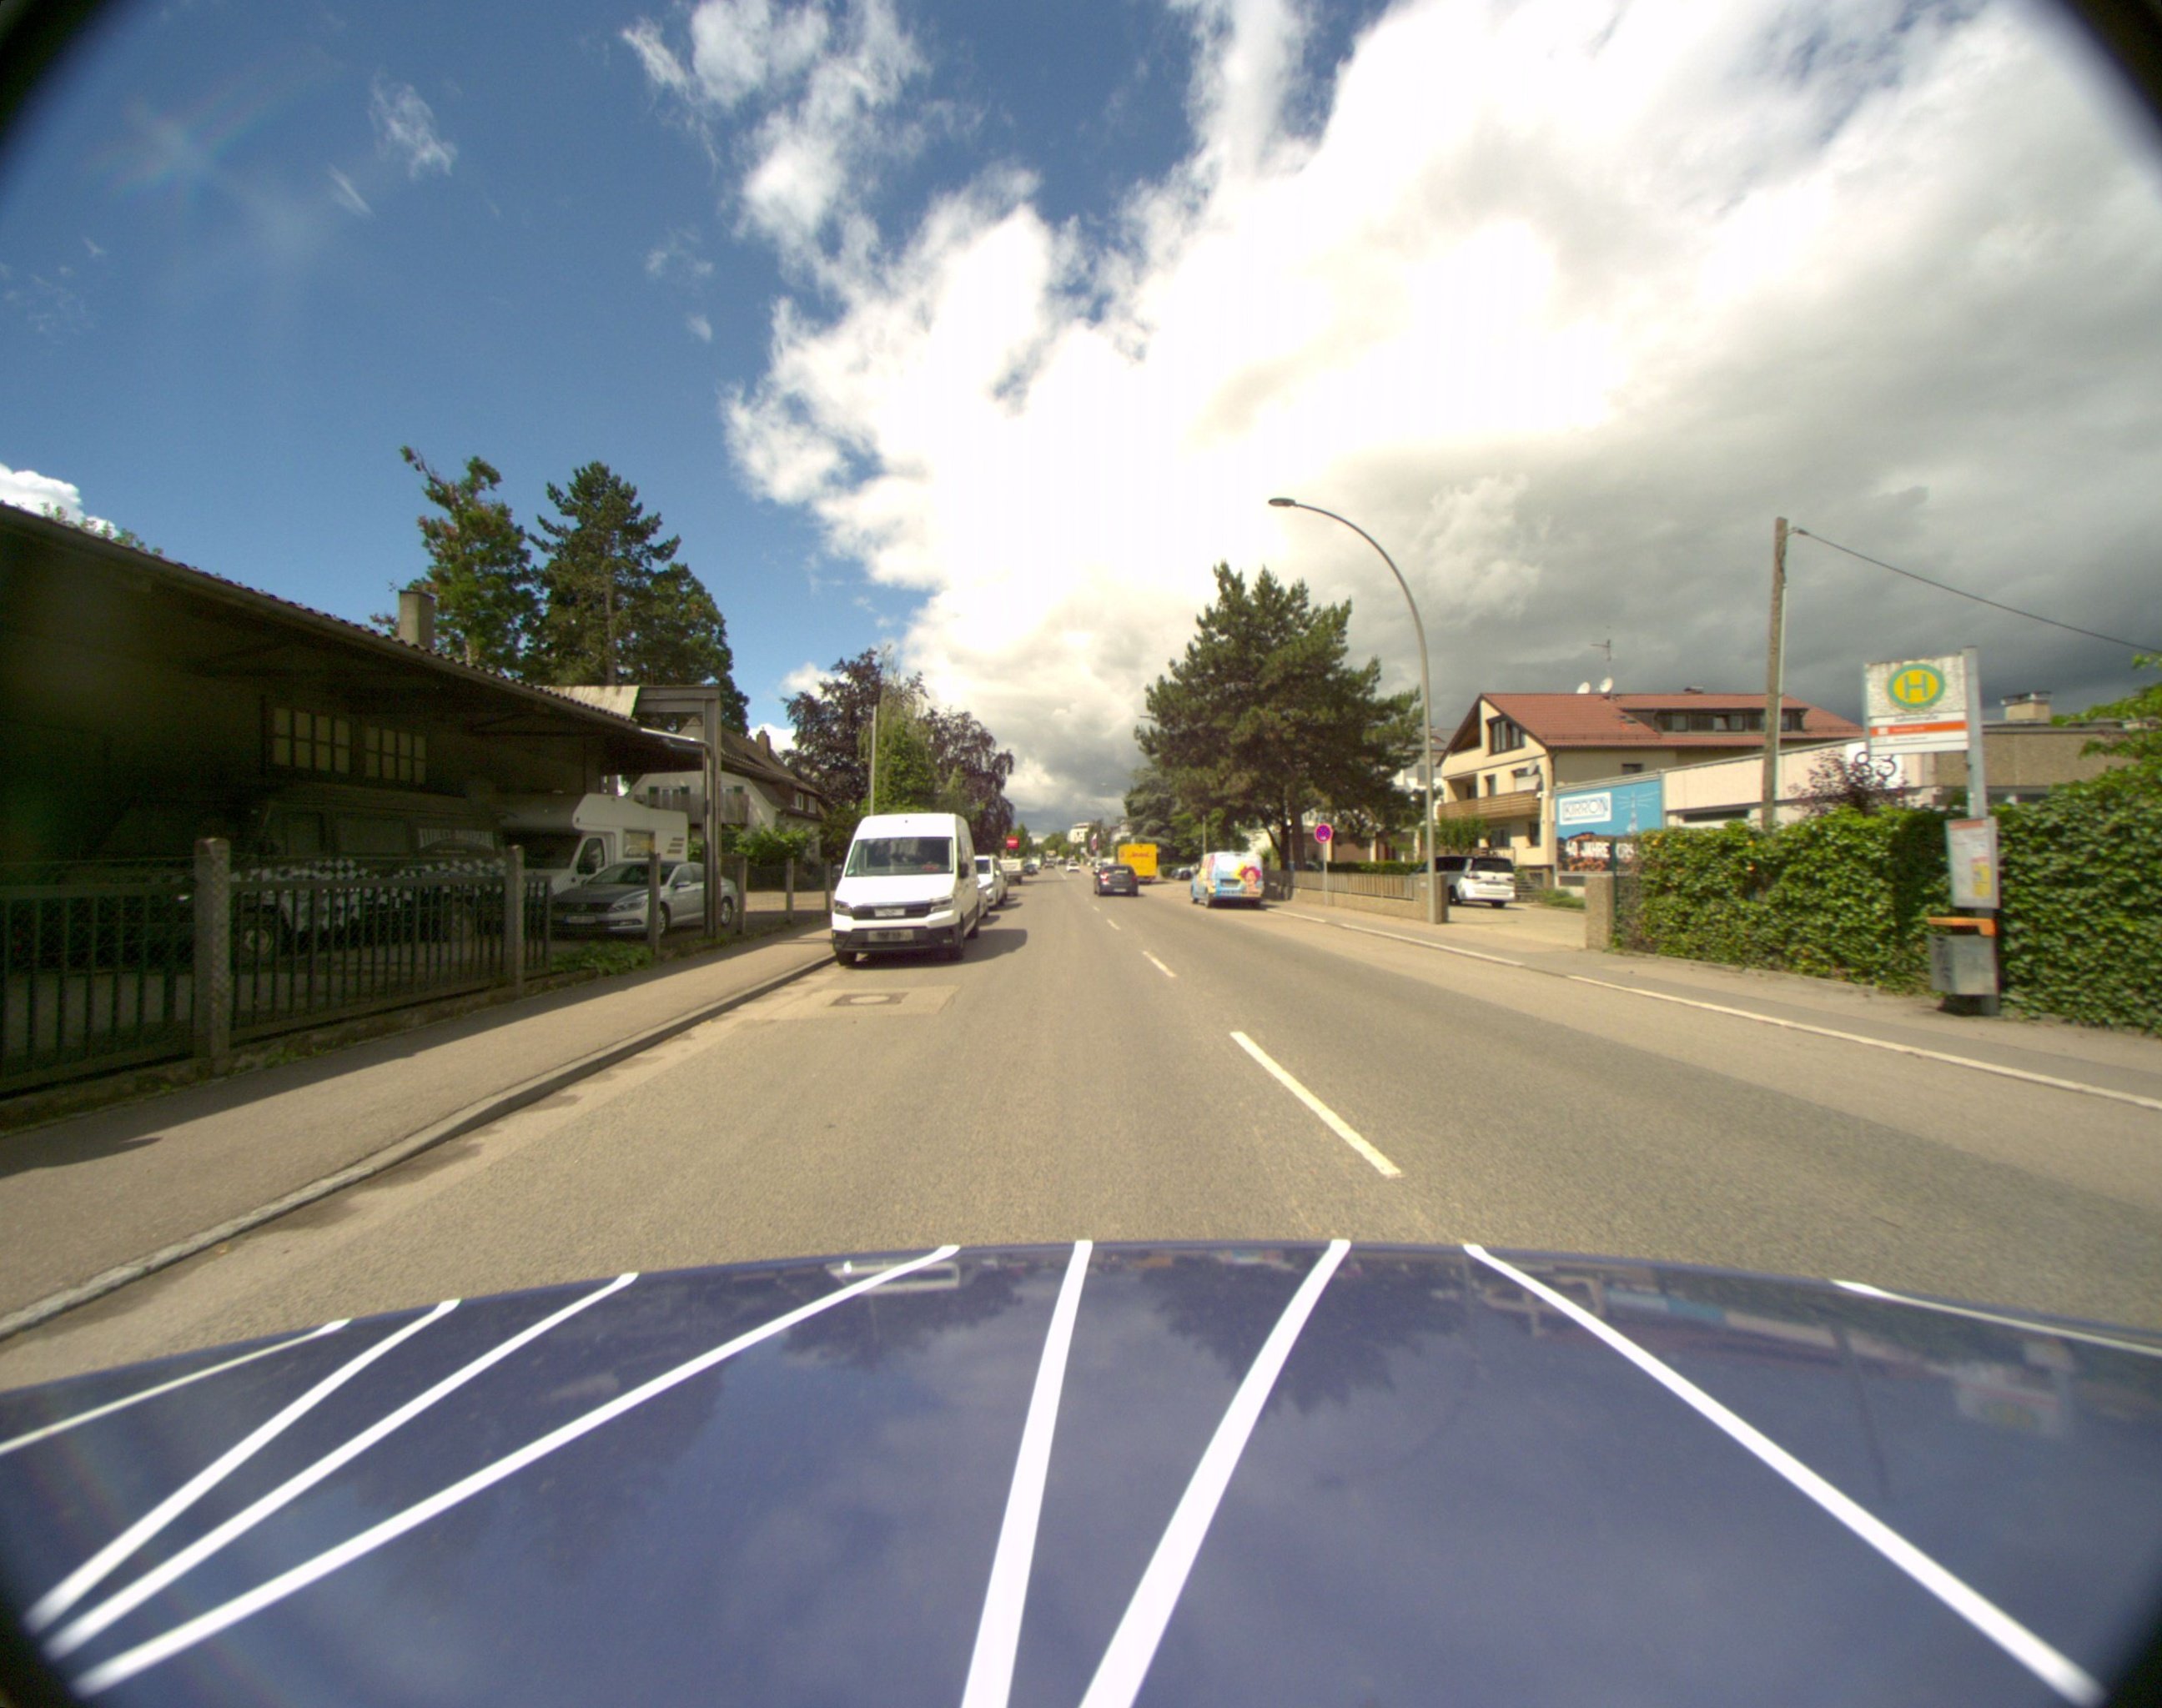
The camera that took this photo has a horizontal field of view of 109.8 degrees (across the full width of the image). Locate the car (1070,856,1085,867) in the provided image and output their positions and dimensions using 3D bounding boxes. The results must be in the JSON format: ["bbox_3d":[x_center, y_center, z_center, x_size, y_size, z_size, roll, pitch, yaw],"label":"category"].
[{"bbox_3d":[-0.519,1.064,108.691,1.988,1.411,3.998,0,0,-5],"label":"car"}]

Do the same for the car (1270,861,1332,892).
[{"bbox_3d":[11.655,1.139,40.470,1.772,1.534,4.085,0,0,-6],"label":"car"}]

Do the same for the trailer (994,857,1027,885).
[{"bbox_3d":[-4.874,1.130,53.131,1.999,1.812,4.764,-2,0,-2],"label":"trailer"}]

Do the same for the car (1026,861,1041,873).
[{"bbox_3d":[-6.355,1.713,101.171,1.812,1.566,4.187,-3,0,-2],"label":"car"}]

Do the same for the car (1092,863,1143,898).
[{"bbox_3d":[1.582,1.168,34.837,1.906,1.509,4.317,0,0,-3],"label":"car"}]

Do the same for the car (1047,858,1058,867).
[{"bbox_3d":[-5.694,1.671,151.346,1.999,1.802,3.999,-1,0,-2],"label":"car"}]

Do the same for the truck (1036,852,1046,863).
[{"bbox_3d":[-10.438,0.845,199.211,2.411,2.722,6.639,-3,0,-2],"label":"truck"}]

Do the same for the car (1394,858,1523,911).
[{"bbox_3d":[14.395,1.085,29.419,2.085,1.820,5.478,0,0,-3],"label":"car"}]

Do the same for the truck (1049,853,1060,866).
[{"bbox_3d":[-7.355,1.570,208.349,2.881,3.289,8.605,-3,0,-2],"label":"truck"}]

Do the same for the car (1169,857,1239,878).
[{"bbox_3d":[9.465,1.013,58.754,5.022,1.543,1.972,-1,0,-4],"label":"car"}]

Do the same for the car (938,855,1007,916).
[{"bbox_3d":[-3.749,1.026,27.033,1.910,1.874,5.388,-2,0,-3],"label":"car"}]

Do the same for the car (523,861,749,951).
[{"bbox_3d":[-8.518,0.915,15.184,1.769,1.480,4.926,-1,-1,-2],"label":"car"}]

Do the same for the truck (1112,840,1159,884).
[{"bbox_3d":[3.915,0.555,56.194,2.330,2.985,7.816,2,0,-4],"label":"truck"}]

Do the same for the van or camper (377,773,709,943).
[{"bbox_3d":[-11.388,0.082,17.178,2.889,3.042,6.911,-1,0,-4],"label":"van or camper"}]

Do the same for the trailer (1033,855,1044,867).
[{"bbox_3d":[-8.186,1.296,147.643,2.045,2.214,5.078,0,0,-2],"label":"trailer"}]

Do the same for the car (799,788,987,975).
[{"bbox_3d":[-3.102,0.418,14.216,2.221,2.673,6.656,0,0,-3],"label":"car"}]

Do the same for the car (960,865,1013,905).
[{"bbox_3d":[-3.956,1.254,32.522,1.759,1.442,4.993,-3,0,-2],"label":"car"}]

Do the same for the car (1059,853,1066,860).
[{"bbox_3d":[-4.937,0.618,202.445,1.859,1.685,4.000,-1,0,1],"label":"car"}]

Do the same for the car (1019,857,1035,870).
[{"bbox_3d":[-6.326,1.096,88.803,1.760,1.455,3.999,-2,0,-3],"label":"car"}]

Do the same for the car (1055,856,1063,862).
[{"bbox_3d":[-7.194,1.645,252.784,2.385,2.002,6.382,0,0,-4],"label":"car"}]

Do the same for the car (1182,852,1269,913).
[{"bbox_3d":[4.880,0.940,26.312,1.838,1.842,4.895,3,-1,-2],"label":"car"}]

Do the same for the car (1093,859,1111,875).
[{"bbox_3d":[2.421,1.486,88.093,1.809,1.666,4.127,1,0,-2],"label":"car"}]

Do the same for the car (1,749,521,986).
[{"bbox_3d":[-11.268,0.213,11.334,2.023,2.665,5.497,-1,-1,-4],"label":"car"}]

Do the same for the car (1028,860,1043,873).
[{"bbox_3d":[-6.336,1.689,105.959,1.836,1.608,3.999,-3,0,-1],"label":"car"}]
